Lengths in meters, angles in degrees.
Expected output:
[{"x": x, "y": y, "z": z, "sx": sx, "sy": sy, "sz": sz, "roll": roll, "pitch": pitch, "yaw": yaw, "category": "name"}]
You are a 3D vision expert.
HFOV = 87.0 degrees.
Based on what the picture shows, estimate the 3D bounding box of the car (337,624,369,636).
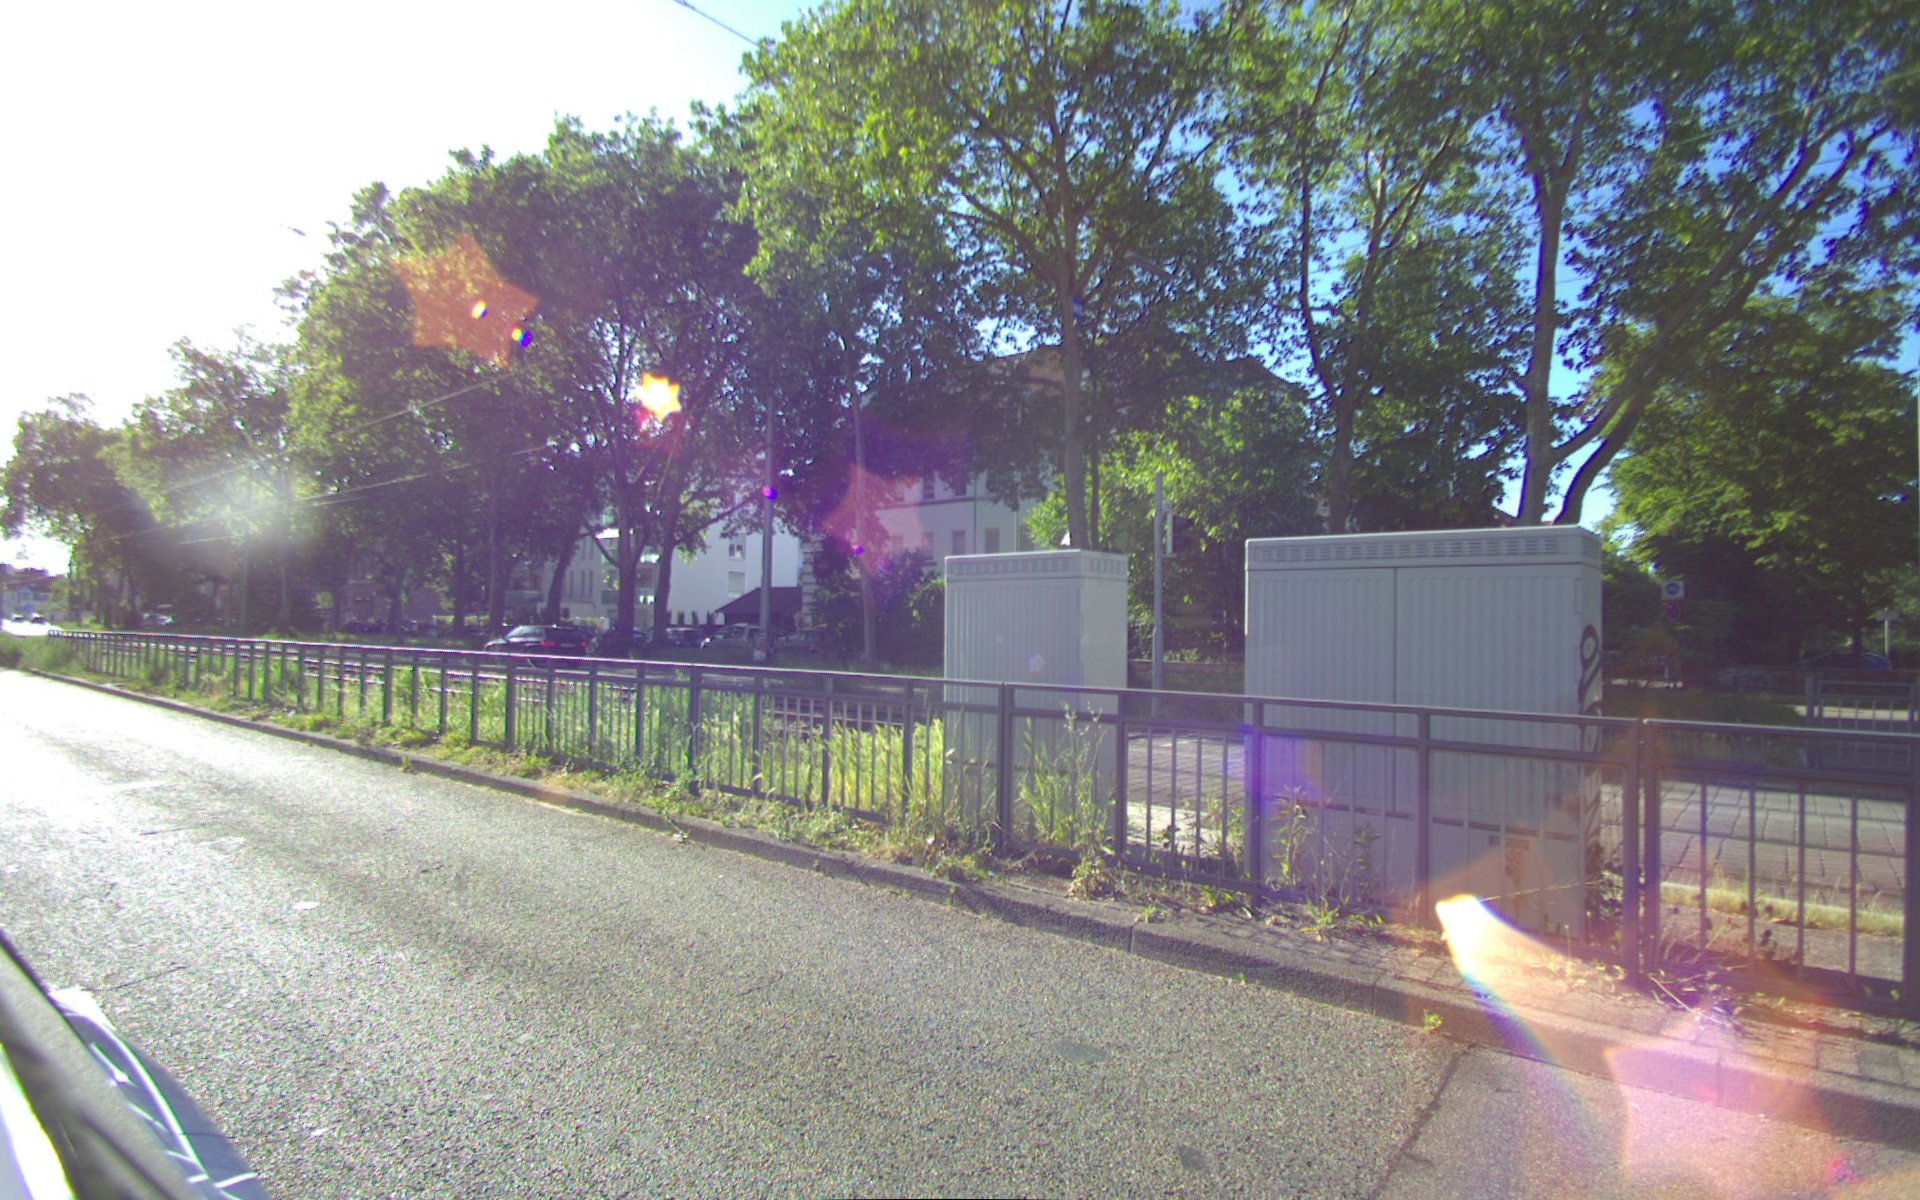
[{"x": -44.099, "y": 2.179, "z": 73.512, "sx": 3.058, "sy": 0.883, "sz": 1.094, "roll": -1, "pitch": -2, "yaw": 41, "category": "car"}]

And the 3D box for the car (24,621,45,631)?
[{"x": -148.147, "y": 4.138, "z": 162.007, "sx": 4.456, "sy": 1.660, "sz": 1.839, "roll": -1, "pitch": -2, "yaw": 40, "category": "car"}]

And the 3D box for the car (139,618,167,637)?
[{"x": -89.328, "y": 3.066, "z": 112.029, "sx": 1.970, "sy": 2.029, "sz": 4.002, "roll": 0, "pitch": -1, "yaw": -45, "category": "car"}]

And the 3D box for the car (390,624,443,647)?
[{"x": -36.261, "y": 2.362, "z": 67.483, "sx": 3.998, "sy": 1.484, "sz": 1.778, "roll": -1, "pitch": -3, "yaw": 41, "category": "car"}]

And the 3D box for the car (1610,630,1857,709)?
[{"x": 16.749, "y": 1.444, "z": 22.098, "sx": 4.141, "sy": 1.521, "sz": 1.652, "roll": -1, "pitch": -2, "yaw": 40, "category": "car"}]

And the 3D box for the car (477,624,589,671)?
[{"x": -14.827, "y": 1.600, "z": 35.053, "sx": 4.337, "sy": 1.510, "sz": 1.667, "roll": -1, "pitch": -2, "yaw": 38, "category": "car"}]

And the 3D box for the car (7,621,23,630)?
[{"x": -176.607, "y": 4.749, "z": 189.146, "sx": 4.000, "sy": 1.720, "sz": 1.971, "roll": -1, "pitch": -2, "yaw": 43, "category": "car"}]

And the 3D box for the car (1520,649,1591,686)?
[{"x": 26.045, "y": 2.910, "z": 44.200, "sx": 1.999, "sy": 1.429, "sz": 3.945, "roll": -1, "pitch": -2, "yaw": 41, "category": "car"}]

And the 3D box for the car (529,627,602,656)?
[{"x": -21.594, "y": 2.246, "z": 55.302, "sx": 4.317, "sy": 1.464, "sz": 1.972, "roll": -1, "pitch": -2, "yaw": 42, "category": "car"}]

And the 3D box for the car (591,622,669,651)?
[{"x": -16.650, "y": 1.817, "z": 50.958, "sx": 4.459, "sy": 1.334, "sz": 1.623, "roll": -1, "pitch": -4, "yaw": 42, "category": "car"}]

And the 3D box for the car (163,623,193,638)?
[{"x": -81.104, "y": 3.138, "z": 104.987, "sx": 3.687, "sy": 1.497, "sz": 1.748, "roll": -1, "pitch": -3, "yaw": 42, "category": "car"}]

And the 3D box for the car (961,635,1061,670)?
[{"x": 1.723, "y": 1.760, "z": 34.659, "sx": 3.213, "sy": 1.125, "sz": 1.458, "roll": -1, "pitch": -2, "yaw": 38, "category": "car"}]

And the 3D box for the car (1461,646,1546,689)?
[{"x": 20.456, "y": 2.494, "z": 38.007, "sx": 1.999, "sy": 1.429, "sz": 3.945, "roll": -1, "pitch": -2, "yaw": 41, "category": "car"}]
